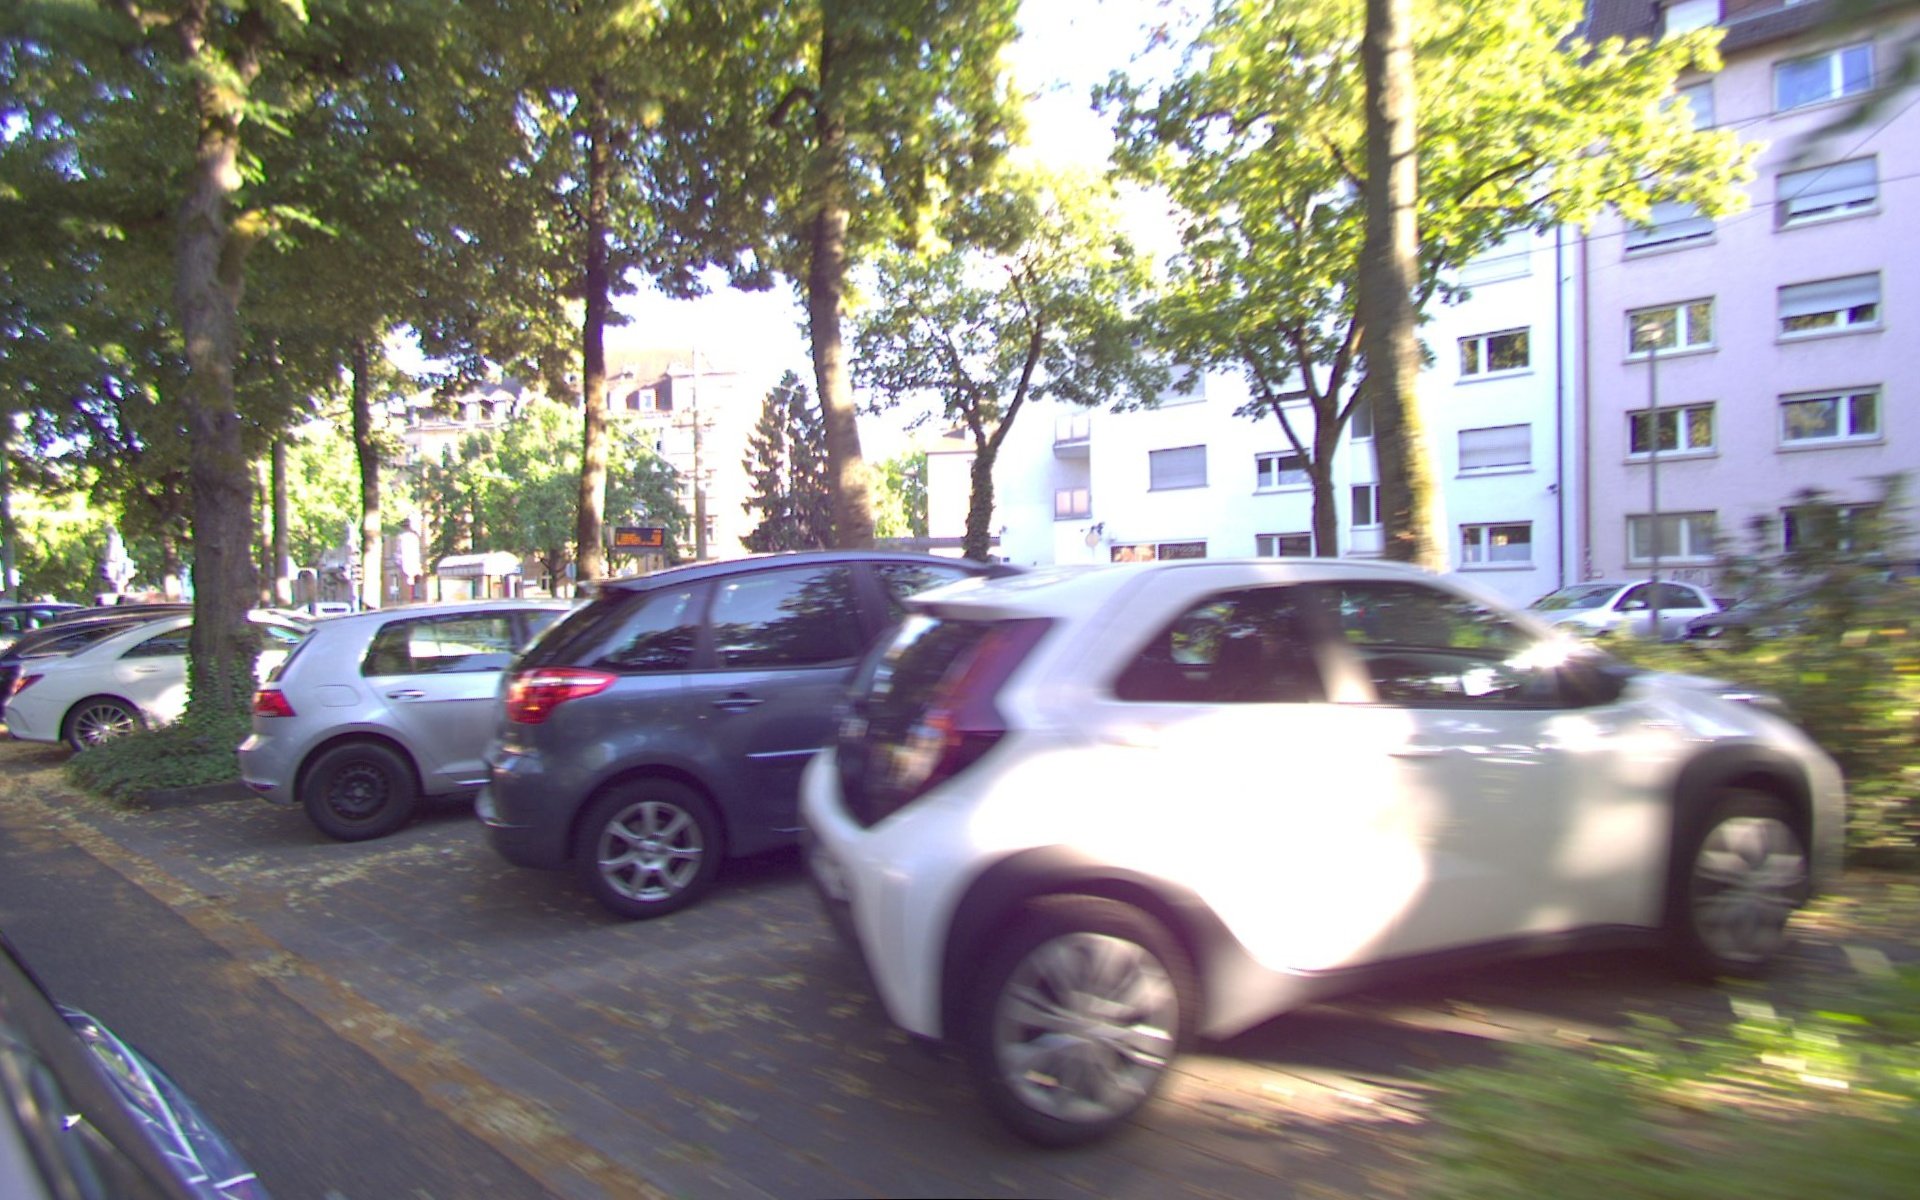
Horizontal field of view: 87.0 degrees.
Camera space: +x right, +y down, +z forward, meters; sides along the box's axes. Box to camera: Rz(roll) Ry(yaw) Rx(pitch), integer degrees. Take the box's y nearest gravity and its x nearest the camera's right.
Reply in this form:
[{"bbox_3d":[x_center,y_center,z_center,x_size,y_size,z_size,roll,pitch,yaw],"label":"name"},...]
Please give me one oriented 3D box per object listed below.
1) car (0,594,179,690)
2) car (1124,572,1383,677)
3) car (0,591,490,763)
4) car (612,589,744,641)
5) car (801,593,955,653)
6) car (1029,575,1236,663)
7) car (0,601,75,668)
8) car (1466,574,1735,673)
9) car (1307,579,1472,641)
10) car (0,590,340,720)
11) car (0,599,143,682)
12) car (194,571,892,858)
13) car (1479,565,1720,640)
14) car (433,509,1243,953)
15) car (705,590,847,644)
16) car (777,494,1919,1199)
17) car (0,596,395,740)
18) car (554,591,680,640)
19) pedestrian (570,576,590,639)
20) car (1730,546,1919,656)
[{"bbox_3d":[-17.033,0.792,19.052,3.296,1.579,1.577,-4,2,-23],"label":"car"},{"bbox_3d":[6.029,0.468,21.007,4.739,2.029,2.005,0,-1,-13],"label":"car"},{"bbox_3d":[-7.842,0.748,11.464,4.389,1.414,1.863,-4,2,-21],"label":"car"},{"bbox_3d":[-9.376,0.510,33.586,4.079,1.634,1.894,1,-1,-18],"label":"car"},{"bbox_3d":[-2.262,0.588,27.716,3.815,1.455,1.860,-1,0,-20],"label":"car"},{"bbox_3d":[3.888,0.396,22.837,4.245,1.832,1.819,0,-1,-21],"label":"car"},{"bbox_3d":[-23.895,0.915,24.108,3.830,1.458,1.640,-4,3,-25],"label":"car"},{"bbox_3d":[10.580,0.335,16.739,3.931,1.438,1.778,-1,0,-22],"label":"car"},{"bbox_3d":[11.141,0.266,26.327,3.507,1.414,1.831,-2,2,42],"label":"car"},{"bbox_3d":[-11.809,0.744,15.276,3.932,1.523,1.966,-4,2,-27],"label":"car"},{"bbox_3d":[-19.327,0.860,20.750,3.632,1.458,1.640,-4,3,-25],"label":"car"},{"bbox_3d":[-2.818,0.631,7.532,4.171,1.451,1.863,-4,3,-21],"label":"car"},{"bbox_3d":[14.639,0.082,23.307,4.416,1.507,1.831,-2,2,42],"label":"car"},{"bbox_3d":[-0.633,0.444,5.727,3.971,1.674,1.863,-4,3,-24],"label":"car"},{"bbox_3d":[-5.466,0.504,30.080,3.931,1.530,1.592,1,-1,-19],"label":"car"},{"bbox_3d":[1.258,0.497,3.647,3.490,1.504,1.831,-4,2,-17],"label":"car"},{"bbox_3d":[-9.926,0.797,13.222,4.240,1.414,1.750,-4,2,-24],"label":"car"},{"bbox_3d":[-12.024,0.567,35.515,4.079,1.634,1.894,1,-1,-20],"label":"car"},{"bbox_3d":[-12.332,0.241,32.857,0.528,2.029,0.645,-1,0,-19],"label":"pedestrian"},{"bbox_3d":[18.133,0.006,20.028,4.416,2.008,1.831,-2,2,42],"label":"car"}]
